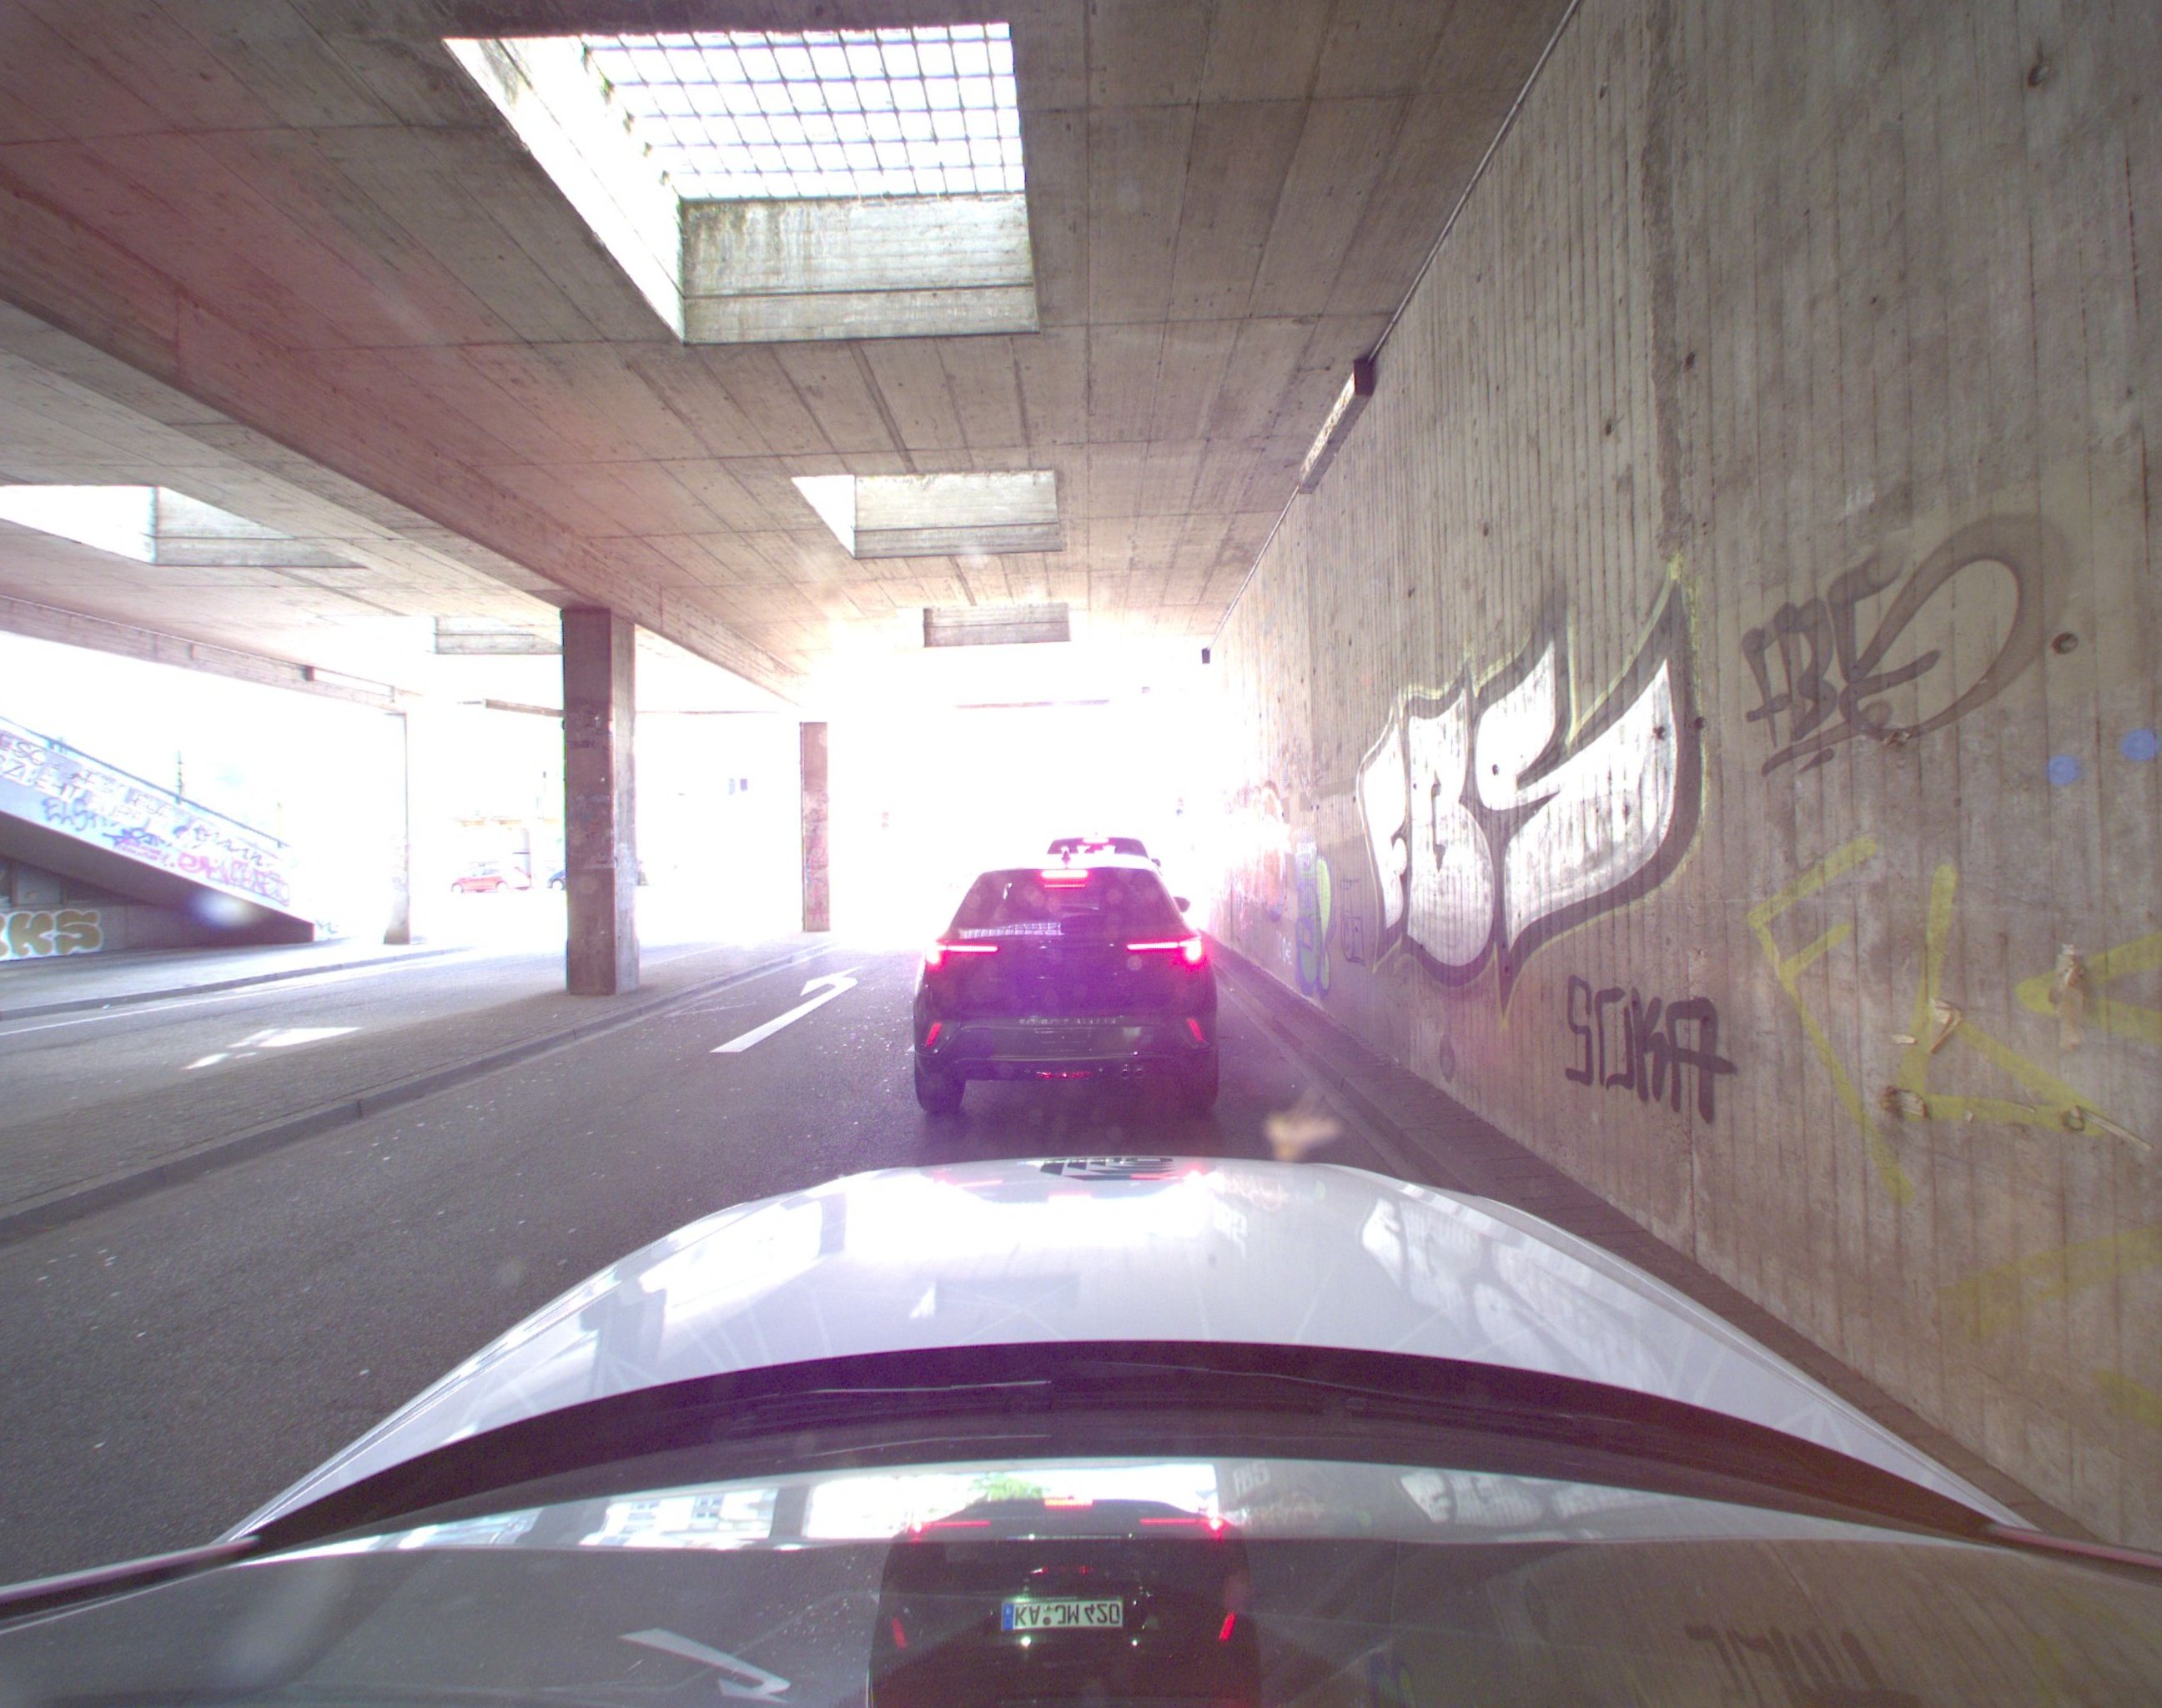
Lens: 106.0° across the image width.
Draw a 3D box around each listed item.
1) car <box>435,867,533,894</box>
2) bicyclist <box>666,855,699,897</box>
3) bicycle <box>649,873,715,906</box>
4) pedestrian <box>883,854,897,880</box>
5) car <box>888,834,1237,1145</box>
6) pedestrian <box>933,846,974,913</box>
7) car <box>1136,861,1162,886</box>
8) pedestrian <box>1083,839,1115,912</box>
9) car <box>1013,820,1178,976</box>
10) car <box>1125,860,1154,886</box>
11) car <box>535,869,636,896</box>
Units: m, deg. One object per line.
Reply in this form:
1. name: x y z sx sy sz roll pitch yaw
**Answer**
1. car: -33.117 1.475 45.239 3.975 1.409 1.925 0 -1 -1
2. bicyclist: -13.940 0.757 28.498 0.733 1.423 0.686 -3 -1 8
3. bicycle: -13.924 1.244 28.466 1.978 1.050 0.720 -2 -1 8
4. pedestrian: -12.033 0.805 51.377 0.669 1.637 0.741 0 -1 1
5. car: -0.031 0.655 6.132 1.758 1.571 4.002 0 1 2
6. pedestrian: -3.428 0.679 21.927 0.925 1.762 0.795 -1 -1 3
7. car: 5.770 1.626 68.435 1.983 1.970 4.172 -1 -1 7
8. pedestrian: 0.442 0.516 19.806 0.728 1.734 0.874 0 -1 1
9. car: 0.243 0.543 12.100 1.986 1.871 4.002 -2 0 2
10. car: 4.522 1.429 62.355 1.983 1.970 4.172 -1 -1 7
11. car: -27.395 1.561 45.139 4.393 1.409 1.925 0 -1 -1
